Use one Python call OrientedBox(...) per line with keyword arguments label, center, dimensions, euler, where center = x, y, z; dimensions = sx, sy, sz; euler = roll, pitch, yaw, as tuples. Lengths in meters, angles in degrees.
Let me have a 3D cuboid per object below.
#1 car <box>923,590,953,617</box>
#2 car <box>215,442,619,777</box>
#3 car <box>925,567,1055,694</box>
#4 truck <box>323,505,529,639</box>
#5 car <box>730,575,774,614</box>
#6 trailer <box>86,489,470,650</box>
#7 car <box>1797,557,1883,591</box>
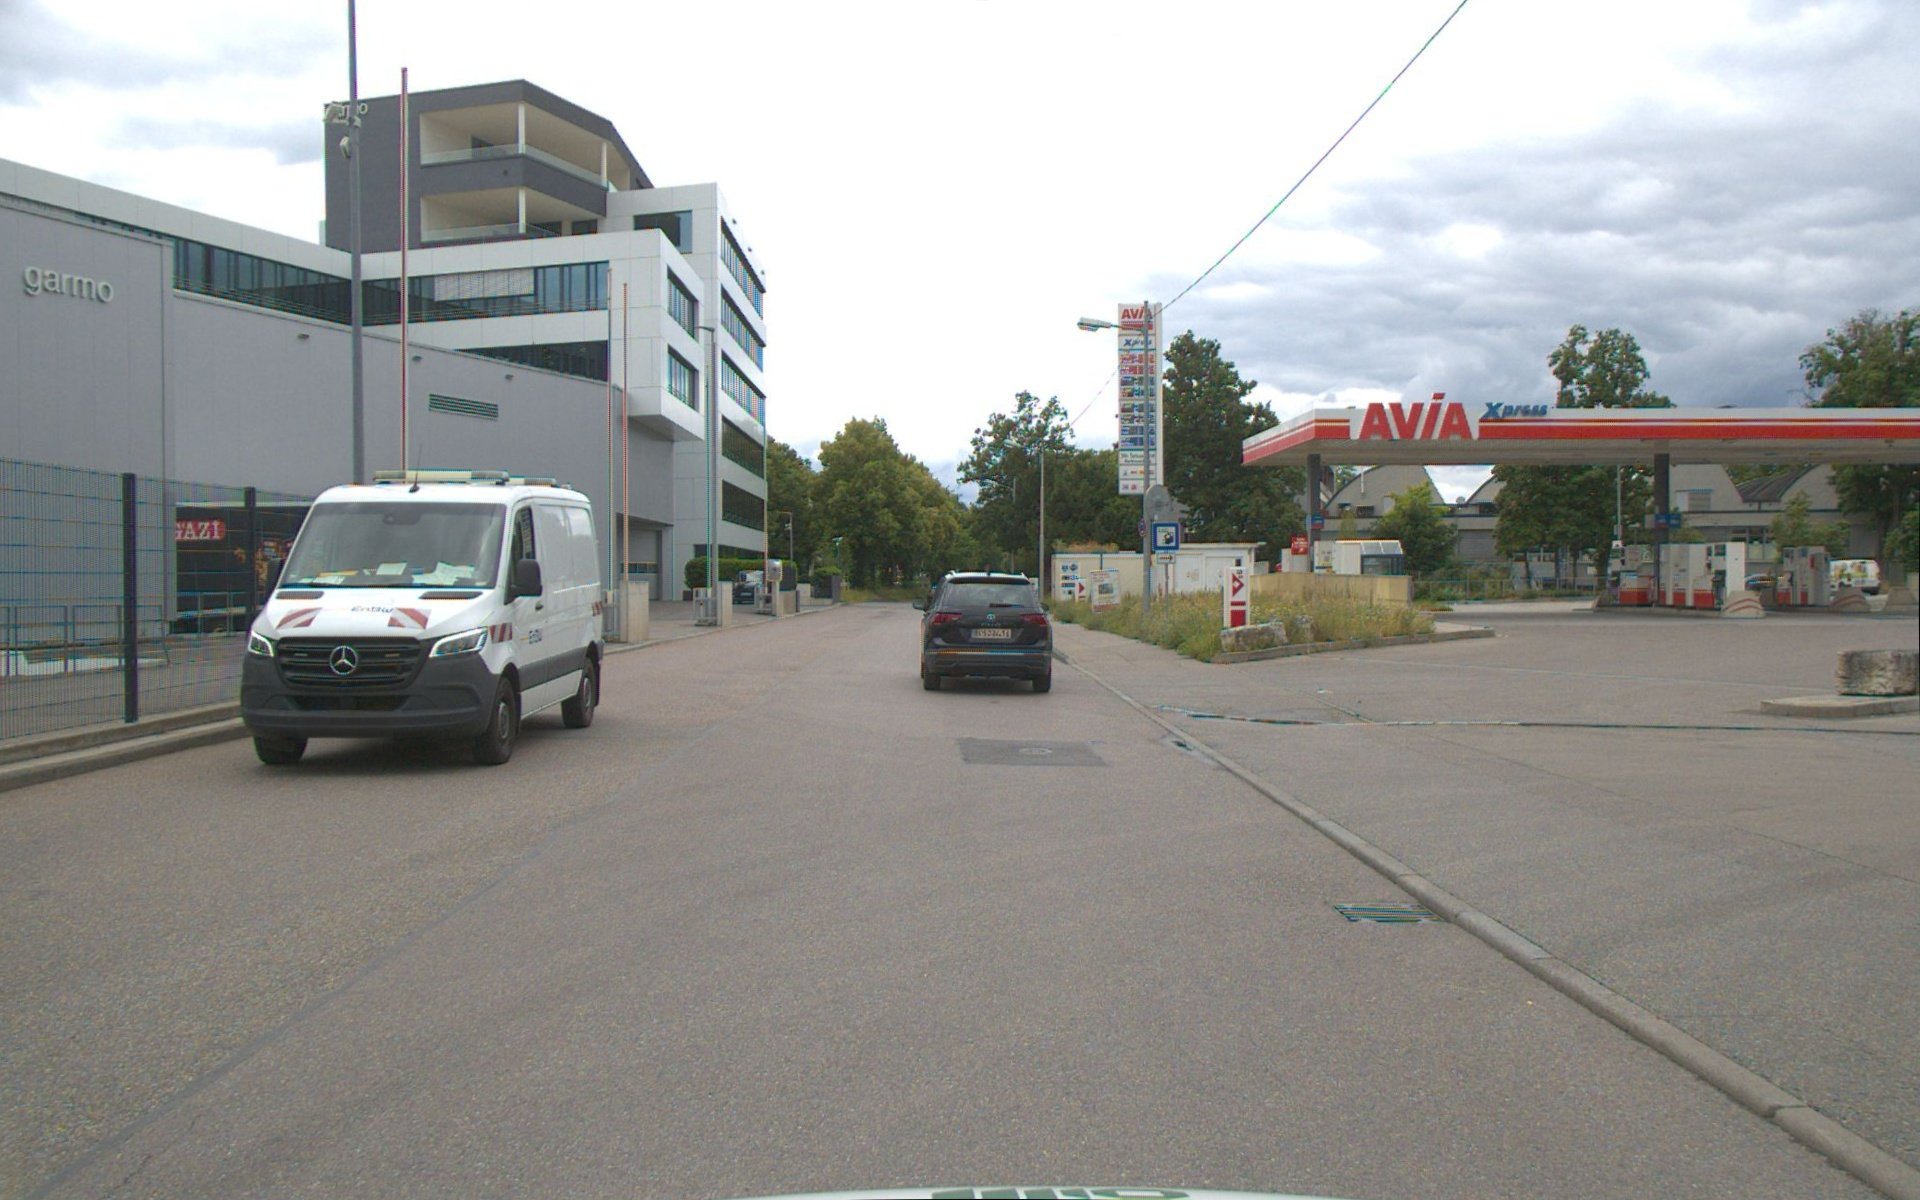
OrientedBox(label="car", center=(-1.387, 0.209, 103.971), dimensions=(1.801, 1.644, 3.999), euler=(0, 0, -1))
OrientedBox(label="car", center=(-4.560, 0.040, 14.872), dimensions=(1.953, 2.458, 5.255), euler=(1, 1, -1))
OrientedBox(label="car", center=(0.447, 0.397, 23.917), dimensions=(1.703, 1.646, 3.642), euler=(1, 0, 1))
OrientedBox(label="truck", center=(-17.320, -0.904, 54.166), dimensions=(2.685, 4.101, 7.095), euler=(0, 1, 19))
OrientedBox(label="car", center=(-9.941, -0.257, 79.138), dimensions=(1.616, 1.792, 3.179), euler=(1, 0, 1))
OrientedBox(label="trailer", center=(-19.323, -0.856, 48.429), dimensions=(2.685, 4.101, 12.621), euler=(0, 1, 19))
OrientedBox(label="car", center=(45.914, -1.317, 86.424), dimensions=(1.922, 1.674, 4.652), euler=(-1, 0, -2))
